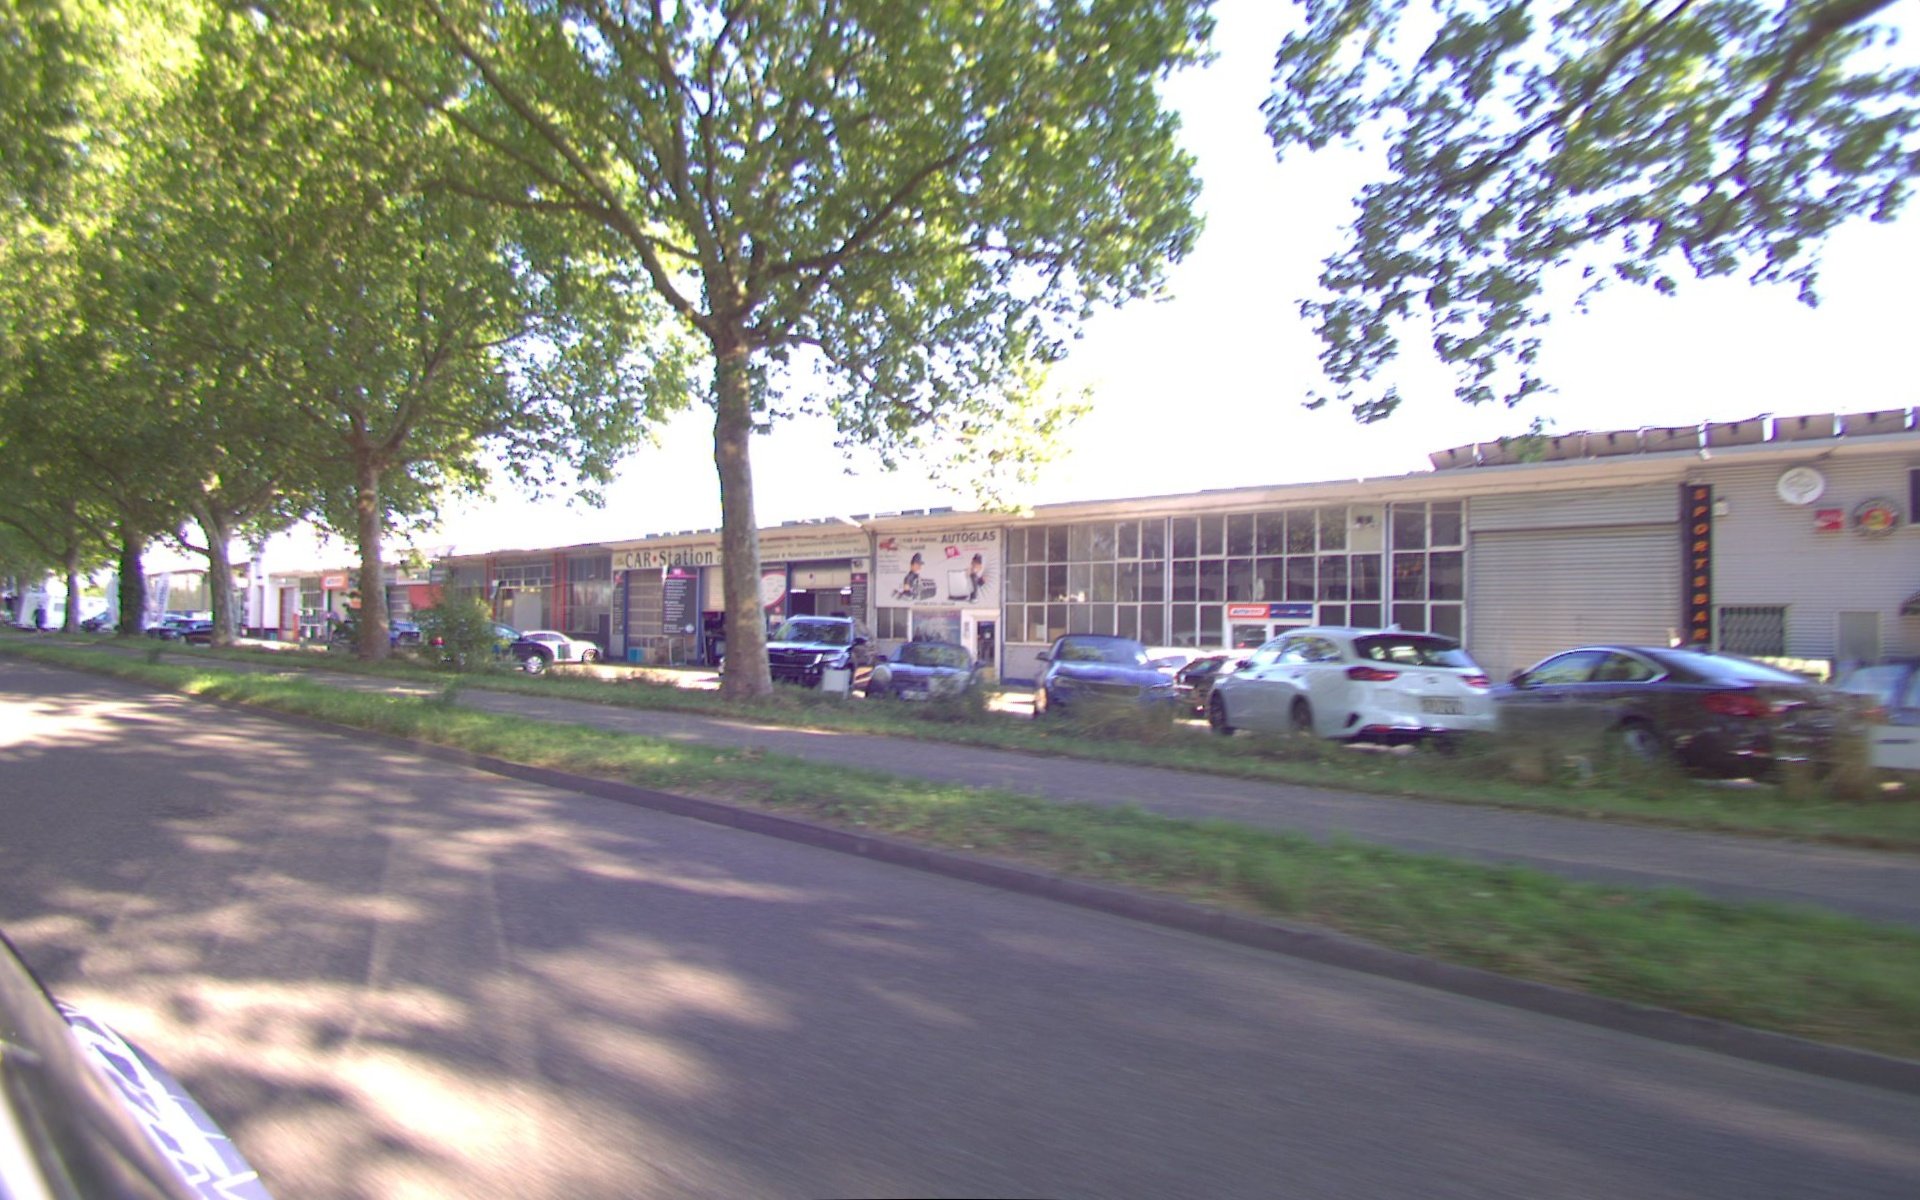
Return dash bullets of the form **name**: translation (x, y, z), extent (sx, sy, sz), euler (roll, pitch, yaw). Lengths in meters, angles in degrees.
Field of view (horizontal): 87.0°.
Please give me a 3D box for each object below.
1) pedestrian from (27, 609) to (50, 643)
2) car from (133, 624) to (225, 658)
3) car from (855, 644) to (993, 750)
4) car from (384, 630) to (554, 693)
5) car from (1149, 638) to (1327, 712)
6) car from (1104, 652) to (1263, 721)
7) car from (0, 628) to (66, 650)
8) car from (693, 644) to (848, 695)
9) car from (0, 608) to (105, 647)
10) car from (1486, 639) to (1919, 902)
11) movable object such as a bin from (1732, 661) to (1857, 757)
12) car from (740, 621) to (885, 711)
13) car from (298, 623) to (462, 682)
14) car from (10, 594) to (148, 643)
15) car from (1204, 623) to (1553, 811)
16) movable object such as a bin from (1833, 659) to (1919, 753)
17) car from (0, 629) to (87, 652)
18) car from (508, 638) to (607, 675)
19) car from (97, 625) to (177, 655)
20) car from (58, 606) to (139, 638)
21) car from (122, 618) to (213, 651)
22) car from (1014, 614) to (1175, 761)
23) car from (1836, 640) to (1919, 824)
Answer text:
- **pedestrian**: translation (-48.641, 1.376, 53.413), extent (0.940, 1.786, 0.795), euler (-1, -1, 43)
- **car**: translation (-40.115, 2.062, 52.082), extent (1.970, 1.586, 3.847), euler (0, 0, -5)
- **car**: translation (-0.459, 1.520, 17.000), extent (1.974, 1.392, 4.259), euler (0, 0, 3)
- **car**: translation (-13.829, 1.679, 28.826), extent (1.983, 1.541, 4.326), euler (0, 0, 17)
- **car**: translation (5.939, 1.580, 21.773), extent (3.244, 1.417, 1.713), euler (0, 0, -11)
- **car**: translation (5.163, 1.966, 23.500), extent (3.242, 1.395, 1.557), euler (0, 0, -14)
- **car**: translation (-85.391, 3.517, 91.474), extent (2.708, 1.693, 6.321), euler (-1, -6, 22)
- **car**: translation (-5.955, 2.154, 32.051), extent (4.403, 1.331, 2.004), euler (0, -1, -38)
- **car**: translation (-69.689, 2.177, 77.331), extent (2.574, 2.516, 6.302), euler (0, -6, 11)
- **car**: translation (7.037, 1.254, 9.144), extent (1.969, 1.641, 4.269), euler (0, 0, -7)
- **movable object such as a bin**: translation (14.011, 1.789, 17.039), extent (1.571, 1.442, 1.046), euler (-1, -1, 39)
- **car**: translation (-2.675, 1.162, 19.335), extent (1.974, 1.463, 4.259), euler (0, 0, 3)
- **car**: translation (-19.714, 1.727, 34.688), extent (1.983, 1.773, 4.872), euler (0, 0, 17)
- **car**: translation (-61.069, 1.398, 70.370), extent (2.575, 2.875, 6.930), euler (0, -6, 12)
- **car**: translation (4.552, 1.167, 11.858), extent (1.969, 1.712, 4.268), euler (0, 0, -6)
- **movable object such as a bin**: translation (15.668, 1.757, 16.869), extent (1.626, 1.442, 1.046), euler (-1, -1, 39)
- **car**: translation (-82.628, 3.636, 90.407), extent (2.708, 1.693, 6.373), euler (-1, -6, 22)
- **car**: translation (-17.528, 2.434, 44.147), extent (3.931, 1.453, 2.007), euler (0, 0, -22)
- **car**: translation (-47.799, 2.307, 58.880), extent (1.967, 1.582, 4.061), euler (0, 0, -12)
- **car**: translation (-51.691, 1.268, 60.829), extent (1.967, 1.854, 4.259), euler (0, 0, -12)
- **car**: translation (-45.455, 1.962, 58.172), extent (1.971, 1.764, 4.315), euler (0, 0, -3)
- **car**: translation (1.953, 1.107, 14.559), extent (1.977, 1.763, 3.989), euler (0, 0, 9)
- **car**: translation (9.669, 1.210, 7.970), extent (1.974, 1.641, 4.258), euler (0, 0, 4)
